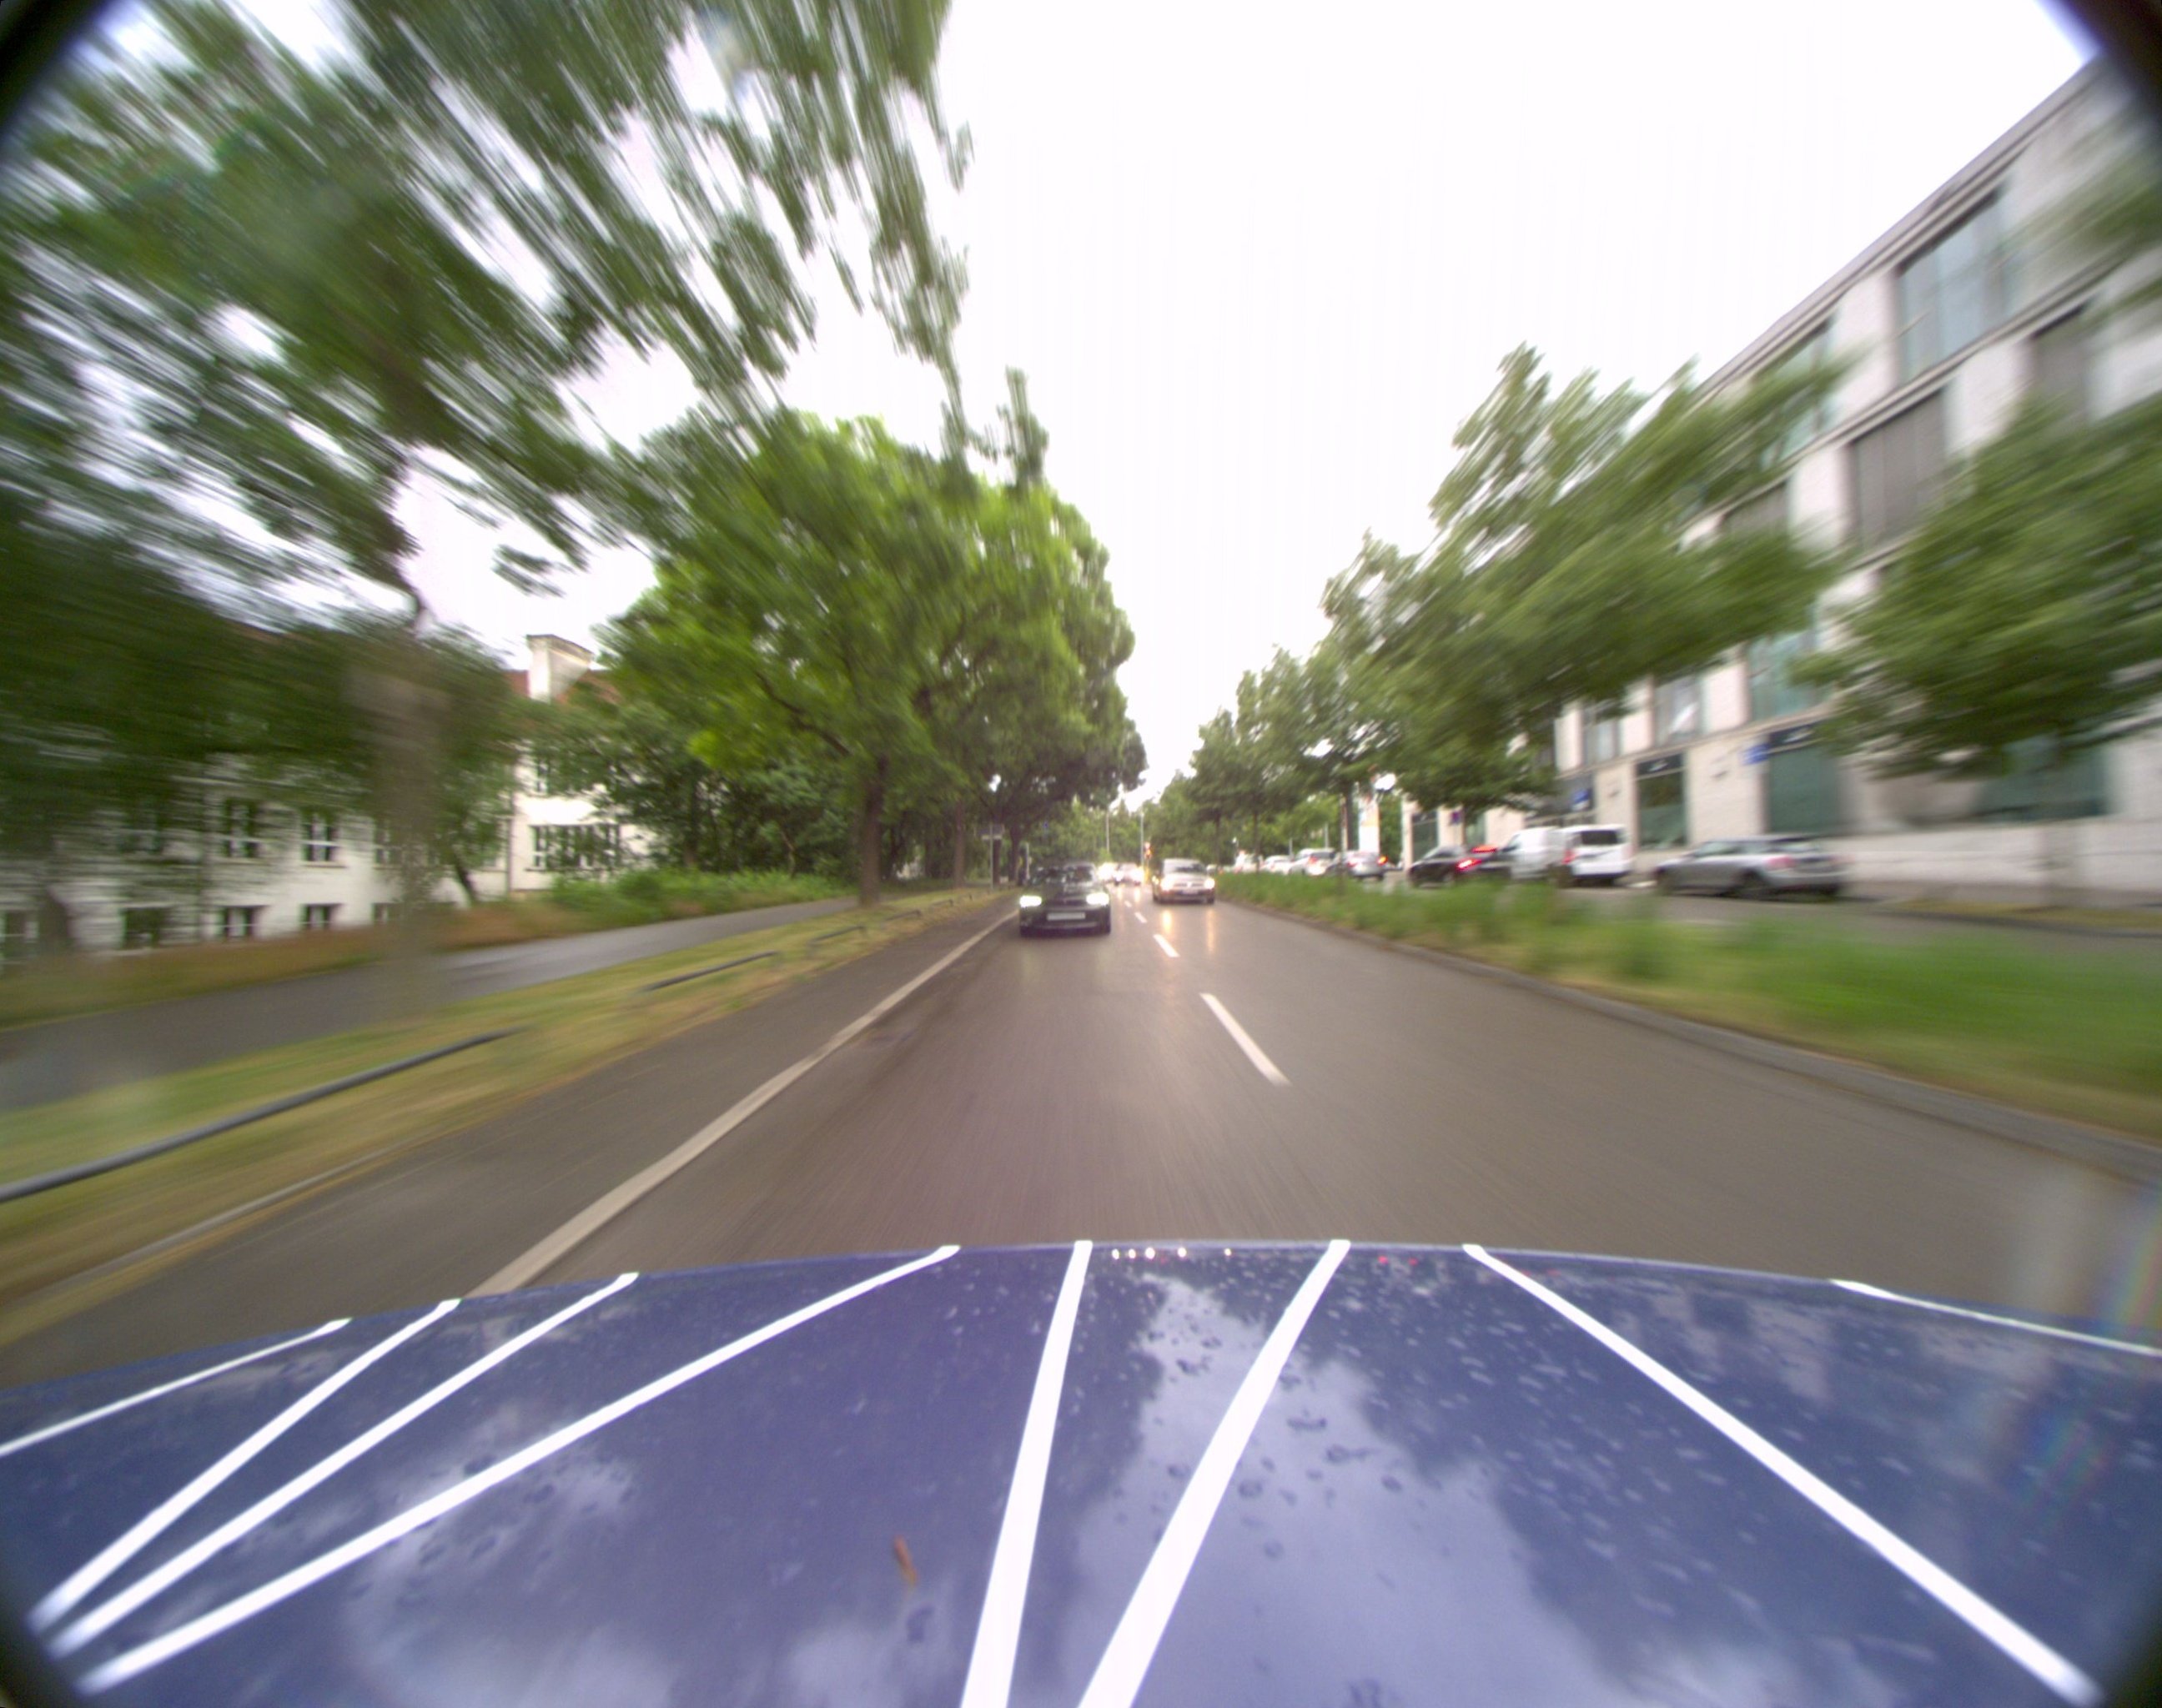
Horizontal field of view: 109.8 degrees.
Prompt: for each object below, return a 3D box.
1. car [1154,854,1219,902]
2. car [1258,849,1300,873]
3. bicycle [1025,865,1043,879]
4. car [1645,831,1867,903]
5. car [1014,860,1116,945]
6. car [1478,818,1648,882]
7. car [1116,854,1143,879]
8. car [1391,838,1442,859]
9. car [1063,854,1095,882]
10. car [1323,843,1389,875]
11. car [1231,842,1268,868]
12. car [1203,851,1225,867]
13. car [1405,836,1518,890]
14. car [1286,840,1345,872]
[{"bbox_3d":[3.435,0.748,25.406,1.904,1.431,4.001,-1,0,5],"label":"car"},{"bbox_3d":[12.944,0.442,49.947,1.748,1.459,4.060,-1,0,1],"label":"car"},{"bbox_3d":[-4.027,1.532,65.030,1.490,1.124,0.556,1,0,-6],"label":"bicycle"},{"bbox_3d":[15.072,0.244,17.261,1.699,1.377,3.697,-3,1,0],"label":"car"},{"bbox_3d":[-0.324,0.916,16.325,1.804,1.422,4.519,-4,0,-1],"label":"car"},{"bbox_3d":[15.348,-0.125,24.646,2.127,1.805,5.259,-2,0,-1],"label":"car"},{"bbox_3d":[3.223,0.849,50.227,1.669,1.520,3.659,-3,-1,5],"label":"car"},{"bbox_3d":[24.449,-0.414,55.301,3.300,1.368,1.565,-1,-2,-25],"label":"car"},{"bbox_3d":[-0.178,0.848,45.499,1.645,1.511,3.579,-2,-1,-4],"label":"car"},{"bbox_3d":[12.706,0.270,35.387,1.645,1.402,3.997,-1,-1,1],"label":"car"},{"bbox_3d":[13.089,0.142,59.418,1.848,1.791,4.775,-3,-2,1],"label":"car"},{"bbox_3d":[13.475,0.515,77.107,1.719,1.451,3.752,-1,-2,3],"label":"car"},{"bbox_3d":[12.382,0.241,25.005,1.699,1.572,4.016,-3,1,1],"label":"car"},{"bbox_3d":[12.679,0.073,41.393,1.833,1.591,4.674,-2,0,1],"label":"car"}]
